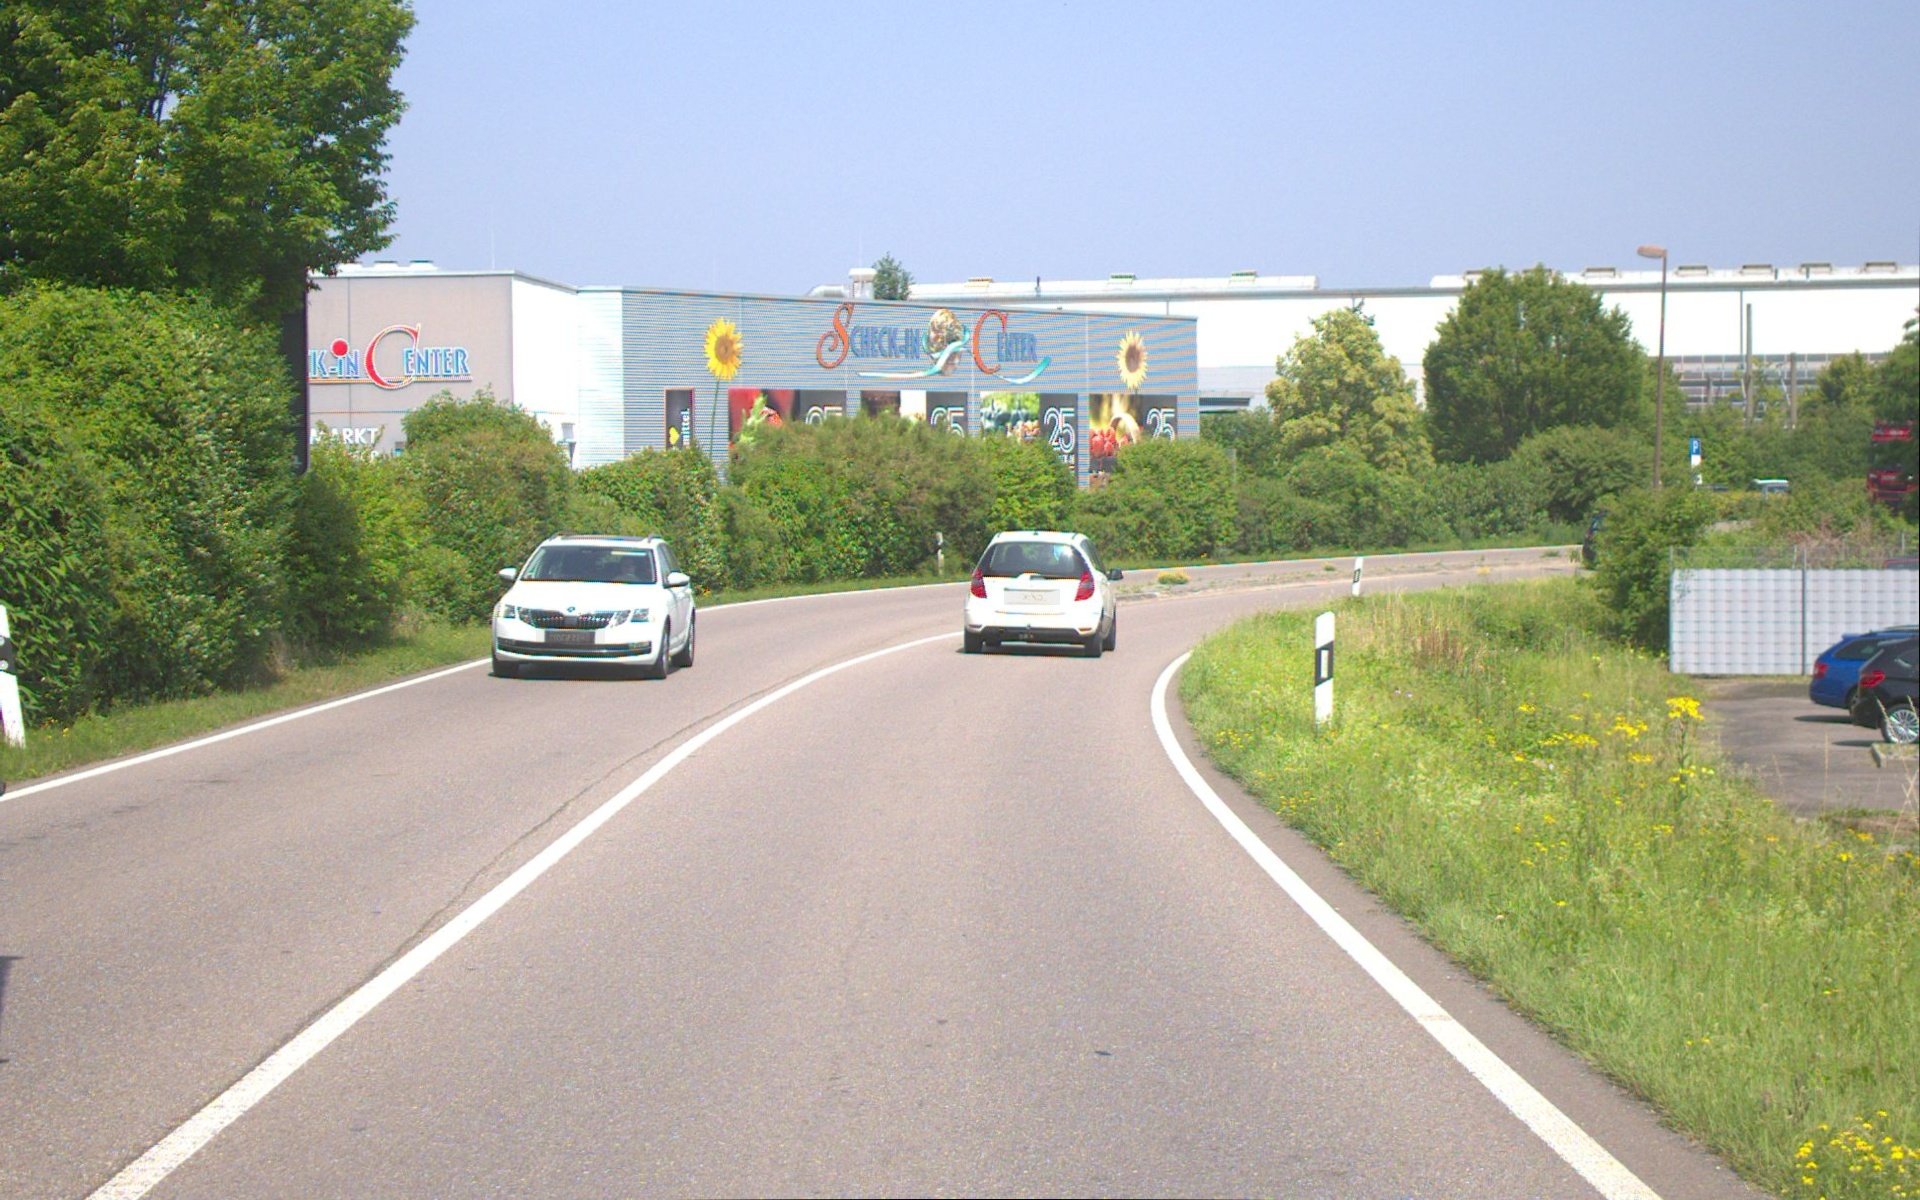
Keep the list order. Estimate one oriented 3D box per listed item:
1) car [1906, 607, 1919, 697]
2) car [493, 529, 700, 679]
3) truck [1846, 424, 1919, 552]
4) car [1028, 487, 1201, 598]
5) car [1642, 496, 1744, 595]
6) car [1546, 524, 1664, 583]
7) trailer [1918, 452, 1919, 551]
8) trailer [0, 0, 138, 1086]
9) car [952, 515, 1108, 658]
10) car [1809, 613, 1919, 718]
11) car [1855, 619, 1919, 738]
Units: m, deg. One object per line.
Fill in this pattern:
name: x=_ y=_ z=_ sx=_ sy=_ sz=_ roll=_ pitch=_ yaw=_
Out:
car: x=18.110 y=0.920 z=56.849 sx=4.370 sy=1.497 sz=1.838 roll=3 pitch=3 yaw=43
car: x=-3.810 y=-0.005 z=36.616 sx=1.828 sy=1.465 sz=4.410 roll=1 pitch=1 yaw=-2
truck: x=31.661 y=-3.565 z=111.311 sx=2.889 sy=4.016 sz=6.705 roll=2 pitch=1 yaw=42
car: x=2.972 y=-1.090 z=65.501 sx=1.996 sy=2.007 sz=3.995 roll=2 pitch=1 yaw=23
car: x=15.572 y=-1.152 z=72.898 sx=1.995 sy=2.007 sz=3.998 roll=1 pitch=1 yaw=13
car: x=16.961 y=-1.212 z=90.257 sx=1.831 sy=1.465 sz=4.403 roll=2 pitch=1 yaw=27
trailer: x=36.050 y=-3.571 z=114.337 sx=8.667 sy=4.016 sz=2.889 roll=0 pitch=1 yaw=-32
trailer: x=-3.976 y=-0.725 z=3.164 sx=2.670 sy=4.226 sz=14.566 roll=1 pitch=1 yaw=1
car: x=0.872 y=-0.217 z=45.014 sx=1.781 sy=1.597 sz=3.894 roll=5 pitch=2 yaw=-1
car: x=15.982 y=1.068 z=54.331 sx=4.636 sy=1.493 sz=1.853 roll=2 pitch=3 yaw=31
car: x=15.096 y=1.146 z=48.153 sx=4.635 sy=1.599 sz=1.854 roll=2 pitch=2 yaw=28
